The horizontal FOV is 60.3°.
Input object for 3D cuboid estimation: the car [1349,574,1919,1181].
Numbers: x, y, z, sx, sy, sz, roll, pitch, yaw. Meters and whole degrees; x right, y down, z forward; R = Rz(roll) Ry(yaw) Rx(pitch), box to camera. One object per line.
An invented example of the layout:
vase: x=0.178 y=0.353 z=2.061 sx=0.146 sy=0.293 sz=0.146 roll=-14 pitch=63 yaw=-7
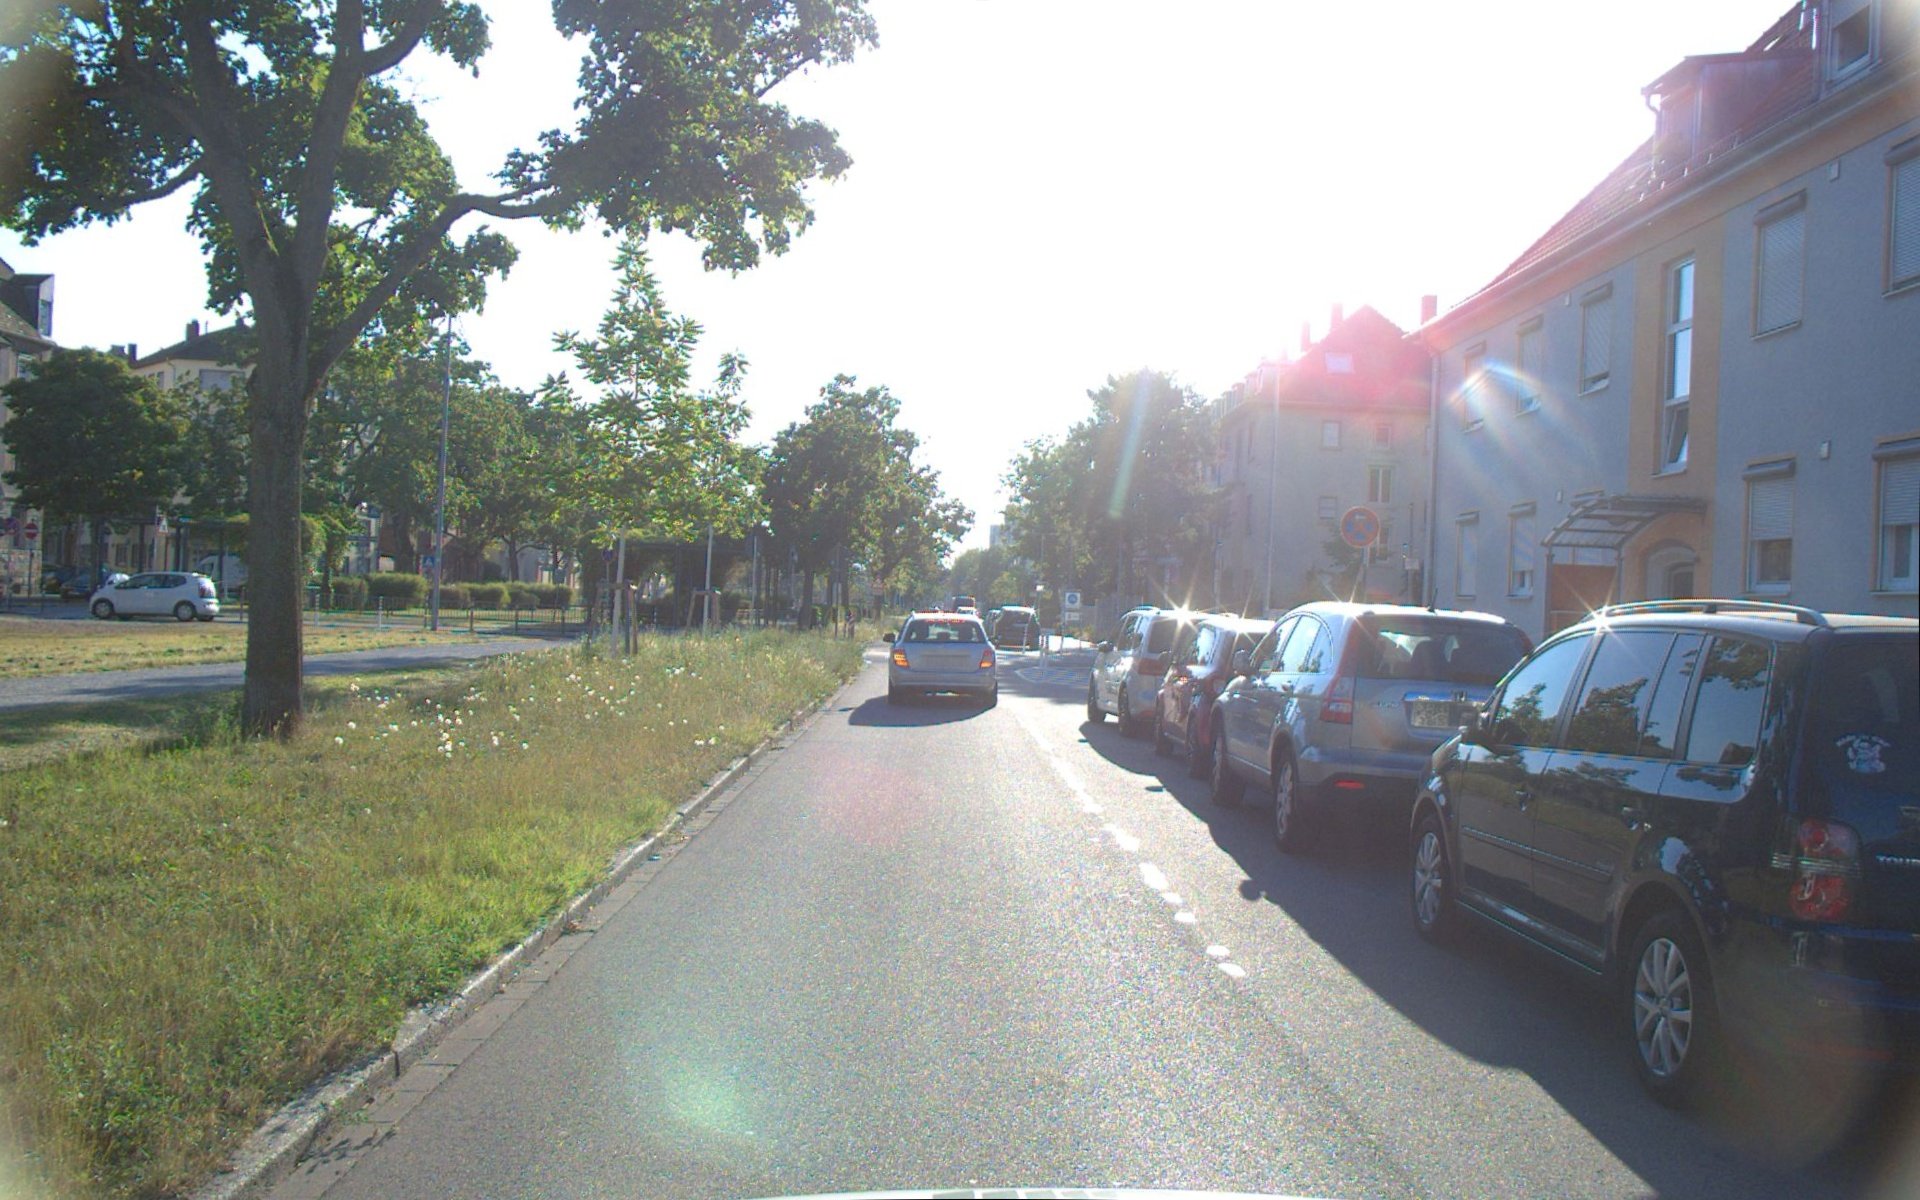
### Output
car: x=3.159 y=0.837 z=6.992 sx=1.730 sy=1.663 sz=4.763 roll=3 pitch=-1 yaw=-1

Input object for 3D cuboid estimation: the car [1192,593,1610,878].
car: x=3.018 y=0.836 z=12.426 sx=1.741 sy=1.672 sz=4.755 roll=2 pitch=0 yaw=-1

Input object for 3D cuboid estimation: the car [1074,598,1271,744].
car: x=2.772 y=0.875 z=22.589 sx=1.683 sy=1.667 sz=4.560 roll=4 pitch=0 yaw=-4

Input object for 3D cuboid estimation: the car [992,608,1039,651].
car: x=2.208 y=1.161 z=66.401 sx=1.686 sy=1.625 sz=3.999 roll=2 pitch=-1 yaw=0

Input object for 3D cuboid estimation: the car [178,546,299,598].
car: x=-42.273 y=-1.617 z=96.992 sx=6.231 sy=2.767 sz=1.982 roll=2 pitch=0 yaw=-32

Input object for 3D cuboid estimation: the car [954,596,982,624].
car: x=0.592 y=0.741 z=124.581 sx=1.948 sy=2.059 sz=3.999 roll=2 pitch=0 yaw=0

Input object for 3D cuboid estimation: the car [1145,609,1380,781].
car: x=3.042 y=0.906 z=17.364 sx=1.694 sy=1.553 sz=3.733 roll=1 pitch=0 yaw=-1

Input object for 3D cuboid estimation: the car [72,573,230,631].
car: x=-24.490 y=0.071 z=50.170 sx=3.817 sy=1.624 sz=1.998 roll=-1 pitch=-1 yaw=-5

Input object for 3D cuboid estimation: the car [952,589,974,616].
car: x=0.232 y=0.250 z=142.743 sx=1.823 sy=2.231 sz=5.069 roll=2 pitch=0 yaw=0

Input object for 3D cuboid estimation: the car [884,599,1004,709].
car: x=-0.251 y=0.816 z=26.977 sx=1.786 sy=1.594 sz=4.000 roll=1 pitch=0 yaw=0
